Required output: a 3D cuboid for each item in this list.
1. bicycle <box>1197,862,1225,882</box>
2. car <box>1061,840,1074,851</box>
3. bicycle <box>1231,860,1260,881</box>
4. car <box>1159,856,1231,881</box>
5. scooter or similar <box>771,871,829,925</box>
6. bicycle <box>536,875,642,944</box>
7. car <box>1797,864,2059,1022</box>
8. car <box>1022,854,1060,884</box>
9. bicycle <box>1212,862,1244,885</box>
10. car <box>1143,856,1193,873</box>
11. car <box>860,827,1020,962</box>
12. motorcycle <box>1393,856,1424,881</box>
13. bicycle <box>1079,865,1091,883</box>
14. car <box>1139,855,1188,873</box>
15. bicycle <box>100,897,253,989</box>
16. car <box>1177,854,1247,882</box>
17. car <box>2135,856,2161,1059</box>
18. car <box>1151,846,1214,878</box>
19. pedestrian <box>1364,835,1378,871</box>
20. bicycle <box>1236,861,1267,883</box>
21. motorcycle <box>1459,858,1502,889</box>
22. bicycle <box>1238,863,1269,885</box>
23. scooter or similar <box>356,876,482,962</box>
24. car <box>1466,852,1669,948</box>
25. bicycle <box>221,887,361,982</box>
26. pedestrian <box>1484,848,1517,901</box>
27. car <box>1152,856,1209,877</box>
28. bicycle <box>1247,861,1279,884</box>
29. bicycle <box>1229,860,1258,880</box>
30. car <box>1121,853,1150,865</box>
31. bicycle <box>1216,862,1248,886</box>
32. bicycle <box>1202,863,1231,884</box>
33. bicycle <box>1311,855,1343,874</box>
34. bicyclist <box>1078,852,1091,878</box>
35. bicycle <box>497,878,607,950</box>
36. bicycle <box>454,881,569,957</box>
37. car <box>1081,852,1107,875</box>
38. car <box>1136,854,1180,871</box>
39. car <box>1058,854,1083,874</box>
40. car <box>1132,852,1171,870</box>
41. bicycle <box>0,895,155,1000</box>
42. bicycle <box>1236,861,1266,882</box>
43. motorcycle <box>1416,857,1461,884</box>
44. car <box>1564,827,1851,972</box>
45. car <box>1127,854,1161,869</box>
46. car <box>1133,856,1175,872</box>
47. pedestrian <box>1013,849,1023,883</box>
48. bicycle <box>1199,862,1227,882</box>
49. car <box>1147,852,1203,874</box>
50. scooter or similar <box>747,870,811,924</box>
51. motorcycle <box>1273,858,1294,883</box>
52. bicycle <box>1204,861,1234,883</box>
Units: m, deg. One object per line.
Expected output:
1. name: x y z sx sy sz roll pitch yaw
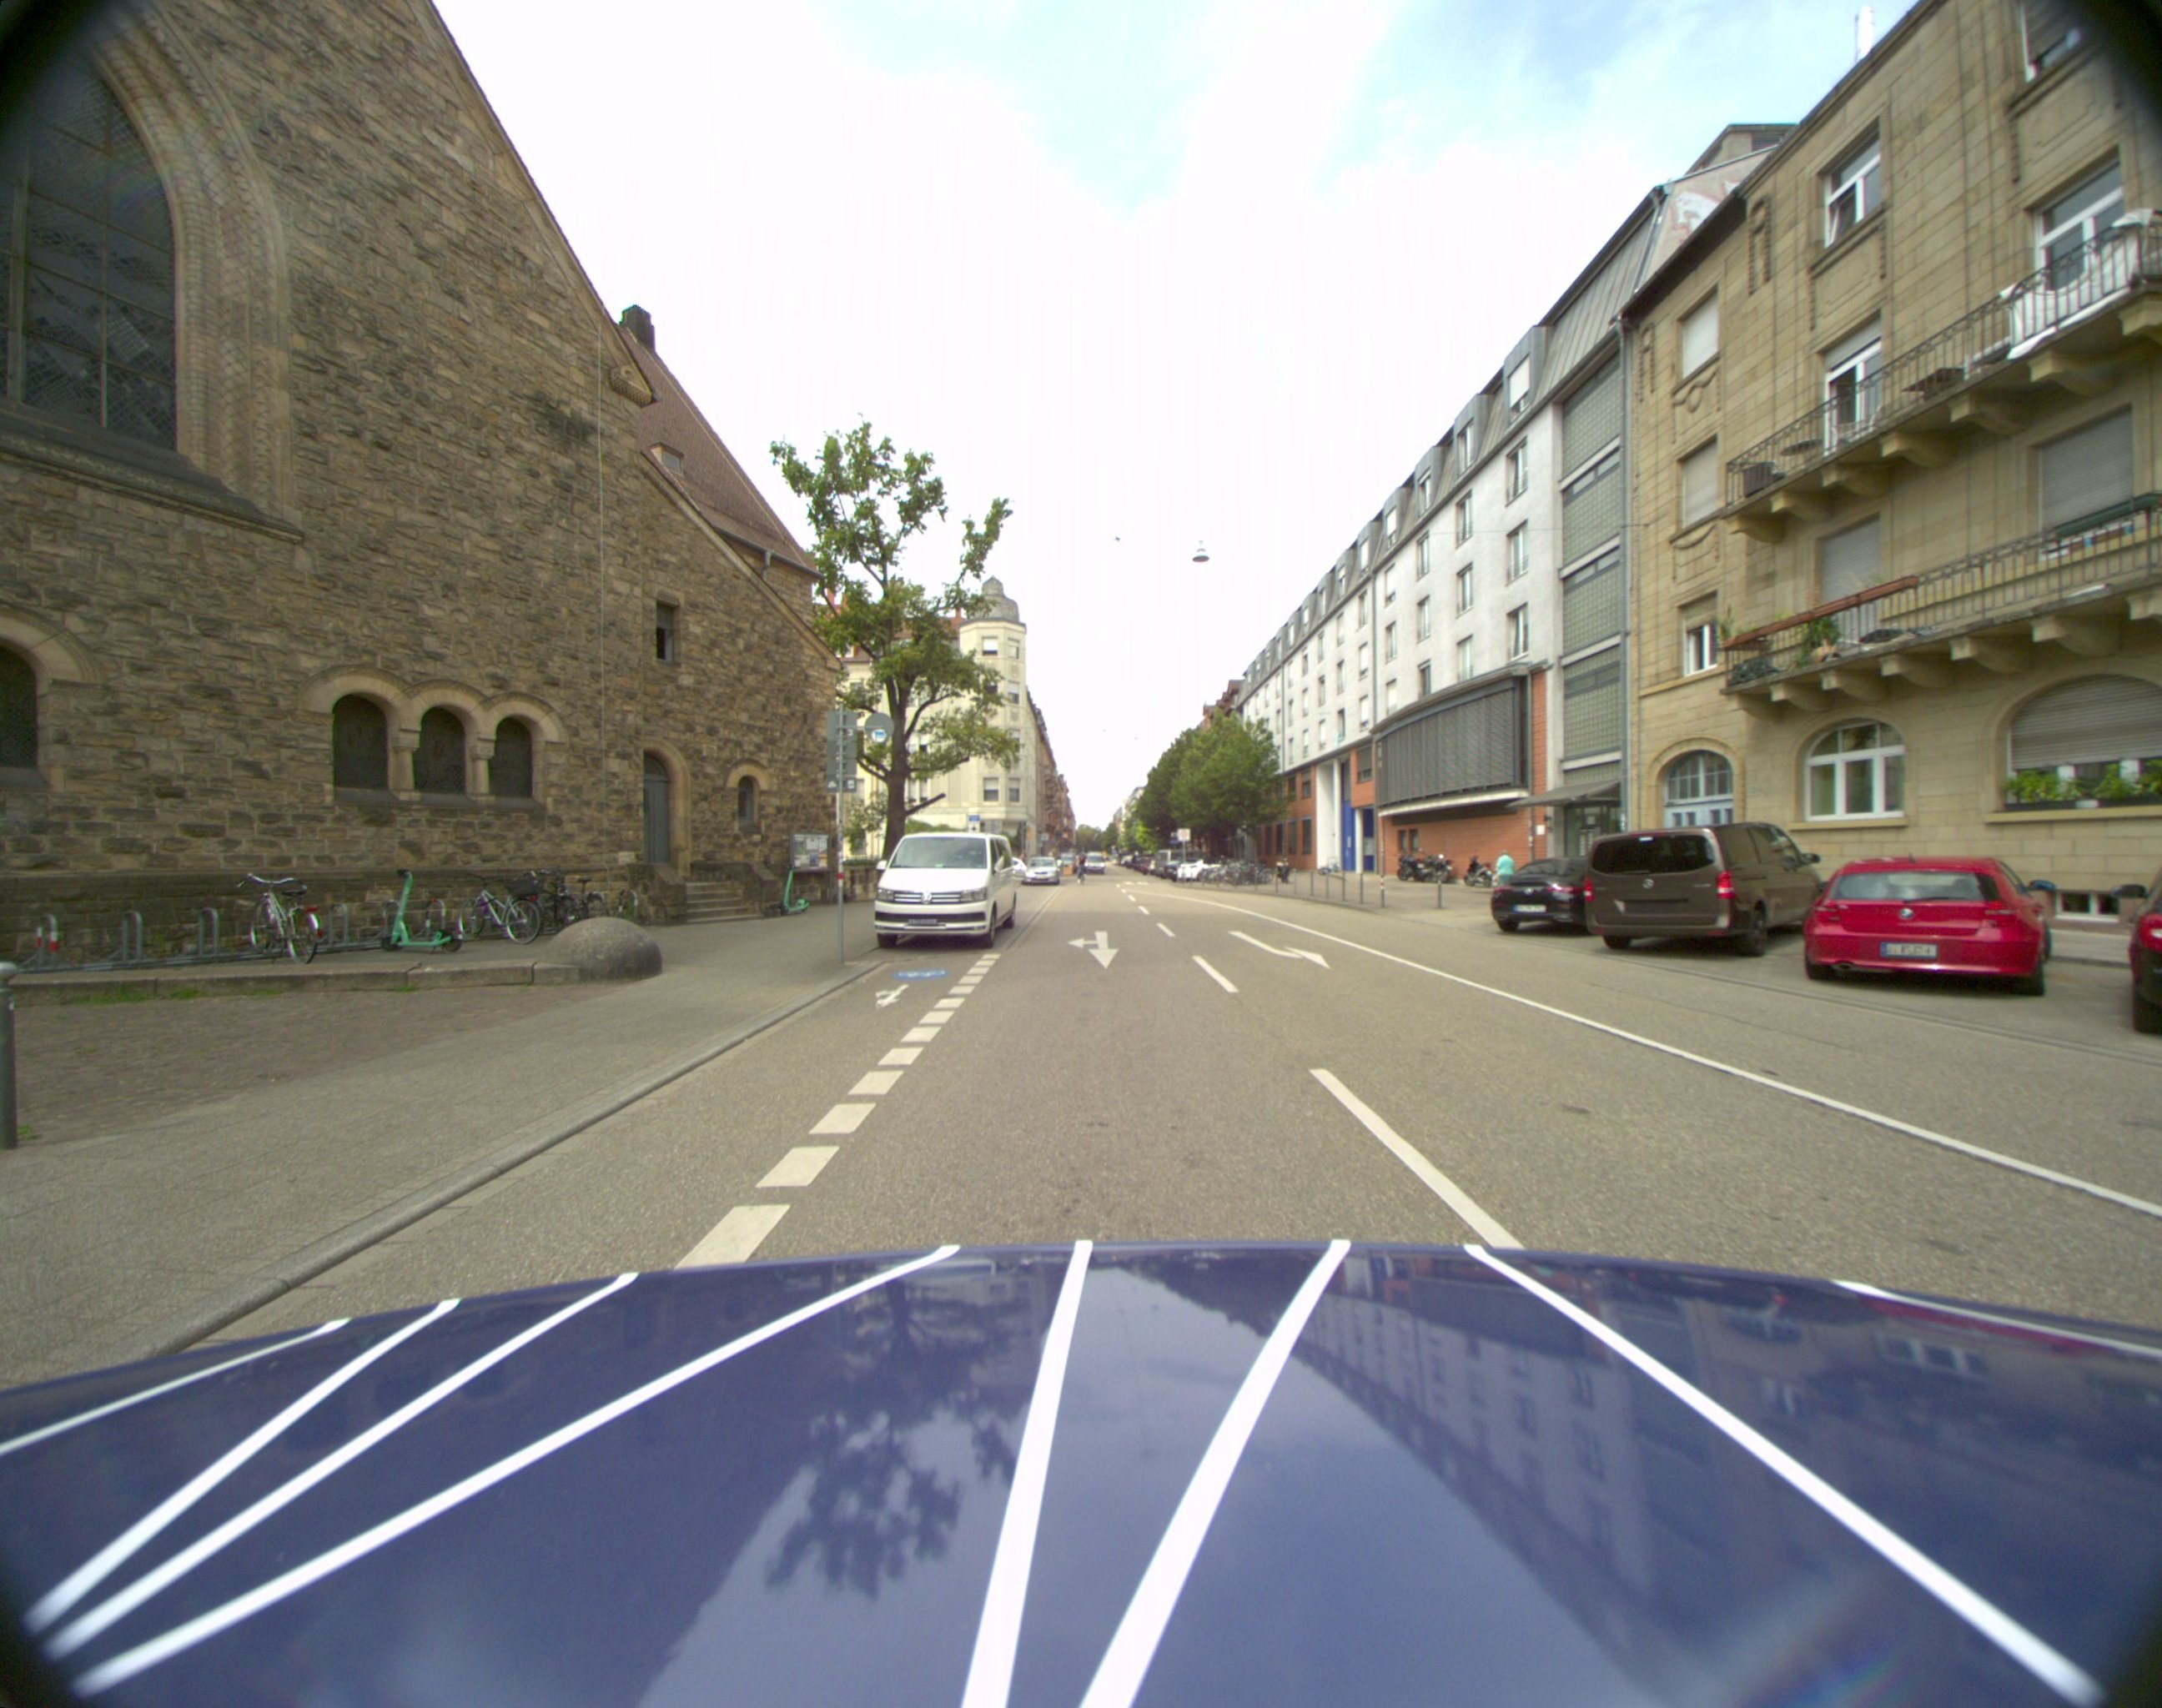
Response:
1. bicycle: 7.080 0.991 41.485 1.409 1.020 0.402 -3 0 3
2. car: -2.028 -1.274 111.924 1.854 1.505 4.006 -1 -1 0
3. bicycle: 8.492 0.852 39.204 1.409 1.020 0.402 -1 0 3
4. car: 7.049 0.880 46.918 4.324 1.460 1.713 -1 0 -33
5. scooter or similar: -6.557 1.001 17.786 0.545 1.200 1.444 0 0 14
6. bicycle: -8.475 0.931 13.078 1.778 1.105 0.547 0 0 20
7. car: 10.110 0.848 8.996 4.020 1.401 1.792 -1 0 -38
8. car: -2.018 0.769 39.690 1.759 1.460 4.418 0 0 0
9. bicycle: 7.119 0.932 36.758 1.409 1.032 0.402 -3 0 3
10. car: 7.348 0.882 63.884 4.012 1.381 1.592 -1 -1 -32
11. car: -2.347 0.602 14.057 2.019 2.017 5.122 1 0 0
12. motorcycle: 14.295 0.635 33.205 0.585 1.042 1.657 -2 0 0
13. bicycle: 0.233 1.070 40.939 0.586 0.927 1.783 -1 -1 2
14. car: 7.192 0.871 66.051 4.012 1.445 1.687 -1 -1 -32
15. bicycle: -10.507 0.997 8.821 1.778 0.951 0.547 0 0 20
16. car: 7.672 0.787 44.421 4.013 1.536 1.598 -1 0 -33
17. car: 10.230 0.782 6.294 4.004 1.494 1.627 -1 0 -34
18. car: 7.045 0.542 52.708 4.011 1.986 1.857 -3 1 -30
19. pedestrian: 16.284 -0.042 42.687 0.729 2.002 0.783 0 0 20
20. bicycle: 8.498 0.894 37.901 1.409 1.020 0.402 -1 0 3
21. motorcycle: 14.208 0.675 27.084 0.585 1.042 1.794 -2 0 2
22. bicycle: 8.470 0.981 37.365 1.409 1.020 0.402 -1 0 3
23. scooter or similar: -9.405 0.897 10.789 1.778 1.133 0.547 0 0 20
24. car: 9.801 0.817 15.158 4.679 1.401 1.895 -4 0 -38
25. bicycle: -10.057 0.992 9.668 1.778 1.105 0.547 0 0 20
26. pedestrian: 12.056 0.581 21.832 0.661 1.477 0.509 -1 0 2
27. car: 7.270 0.876 55.605 4.012 1.438 1.621 -1 -1 -32
28. bicycle: 8.658 0.880 36.119 1.409 1.020 0.402 -1 0 3
29. bicycle: 8.497 0.834 39.689 1.409 1.020 0.402 -1 0 3
30. car: 8.209 0.746 114.446 4.012 1.746 1.687 -1 -1 -32
31. bicycle: 7.129 0.946 35.866 1.409 1.032 0.402 -3 0 3
32. bicycle: 7.037 1.006 39.404 1.409 1.020 0.402 -3 0 3
33. bicycle: 14.235 0.632 44.045 1.613 0.920 0.932 -6 -1 13
34. bicyclist: 0.206 0.592 41.083 0.649 1.408 1.094 -1 0 2
35. bicycle: -8.684 0.960 12.461 1.771 1.105 0.547 0 0 20
36. bicycle: -8.916 0.991 11.888 1.778 1.105 0.547 0 0 20
37. car: 1.174 0.824 67.238 1.942 1.913 4.008 -1 -1 5
38. car: 7.531 0.791 74.267 4.012 1.558 1.687 -1 -1 -32
39. car: -0.926 0.915 68.015 1.853 1.661 4.008 -1 -1 5
40. car: 7.769 0.759 83.213 4.052 1.846 1.687 -1 -1 -32
41. bicycle: -10.809 0.962 8.150 1.778 0.952 0.547 2 1 20
42. bicycle: 8.569 0.873 38.385 1.409 1.020 0.402 -1 0 3
43. motorcycle: 14.449 0.651 30.785 0.585 1.042 1.965 -2 0 -10
44. car: 10.225 0.578 12.267 5.280 1.899 2.116 -1 0 -33
45. car: 7.970 0.946 96.336 4.012 1.846 1.687 -1 -1 -32
46. car: 7.431 1.042 76.889 4.012 1.558 1.687 -1 -1 -32
47. pedestrian: -3.288 0.627 39.636 0.468 1.725 0.410 0 0 0
48. bicycle: 7.063 0.963 40.676 1.409 1.020 0.402 -3 0 3
49. car: 7.219 0.684 58.275 4.012 1.605 1.708 -1 -1 -32
50. scooter or similar: -7.167 0.987 18.091 0.545 1.200 1.483 0 0 21
51. motorcycle: 9.753 0.764 36.673 0.585 1.166 1.780 -2 0 3
52. bicycle: 7.027 0.922 38.761 1.409 1.032 0.402 -3 0 3
